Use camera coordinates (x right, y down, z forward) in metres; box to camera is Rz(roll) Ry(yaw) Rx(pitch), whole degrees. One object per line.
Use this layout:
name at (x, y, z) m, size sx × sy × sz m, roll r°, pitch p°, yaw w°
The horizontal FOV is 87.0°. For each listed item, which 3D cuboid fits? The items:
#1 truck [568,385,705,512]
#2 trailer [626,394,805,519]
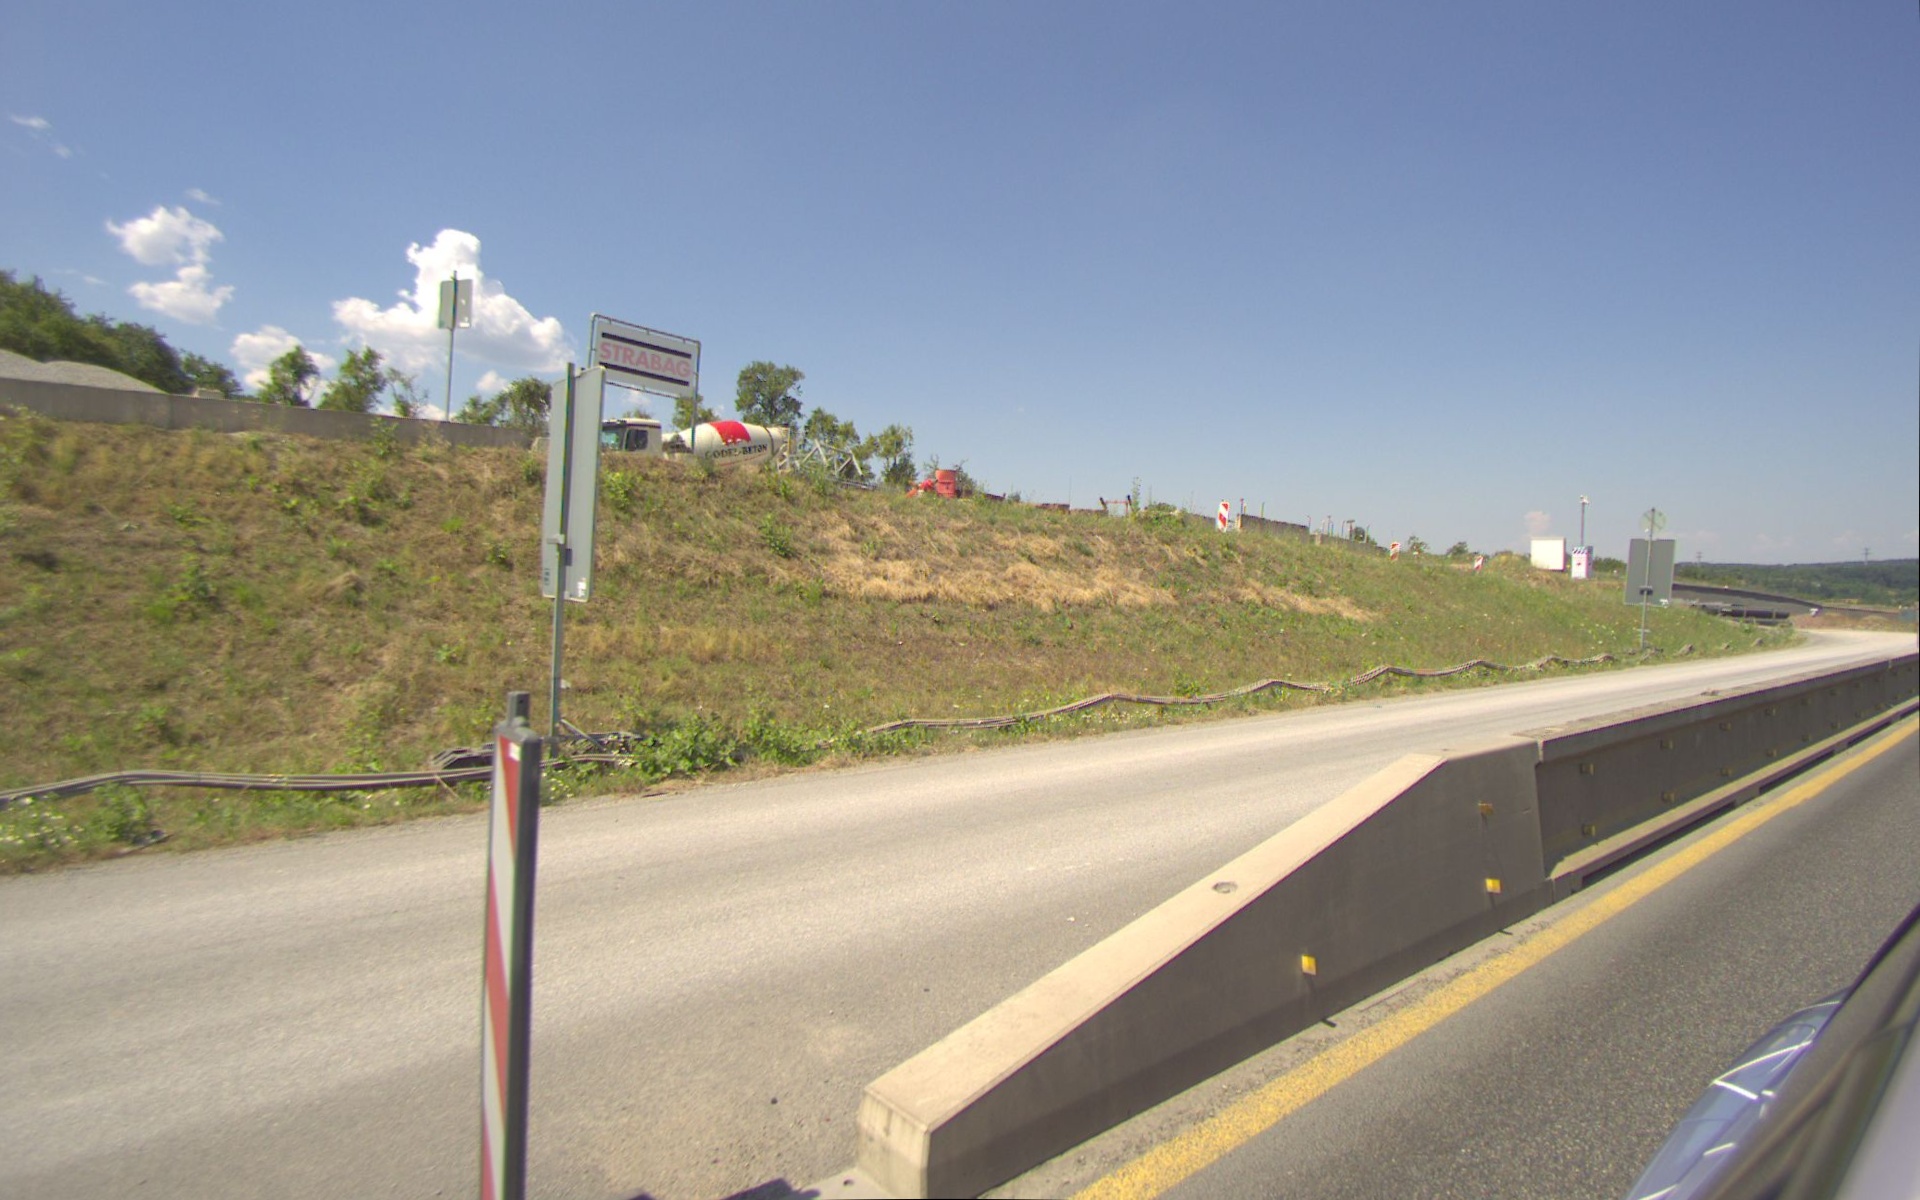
truck at (-12.109, -5.539, 38.028) m, size 2.743 × 4.147 × 4.039 m, roll 2°, pitch 1°, yaw 41°
trailer at (-9.716, -5.561, 40.770) m, size 2.754 × 4.166 × 6.646 m, roll 2°, pitch 1°, yaw 41°
